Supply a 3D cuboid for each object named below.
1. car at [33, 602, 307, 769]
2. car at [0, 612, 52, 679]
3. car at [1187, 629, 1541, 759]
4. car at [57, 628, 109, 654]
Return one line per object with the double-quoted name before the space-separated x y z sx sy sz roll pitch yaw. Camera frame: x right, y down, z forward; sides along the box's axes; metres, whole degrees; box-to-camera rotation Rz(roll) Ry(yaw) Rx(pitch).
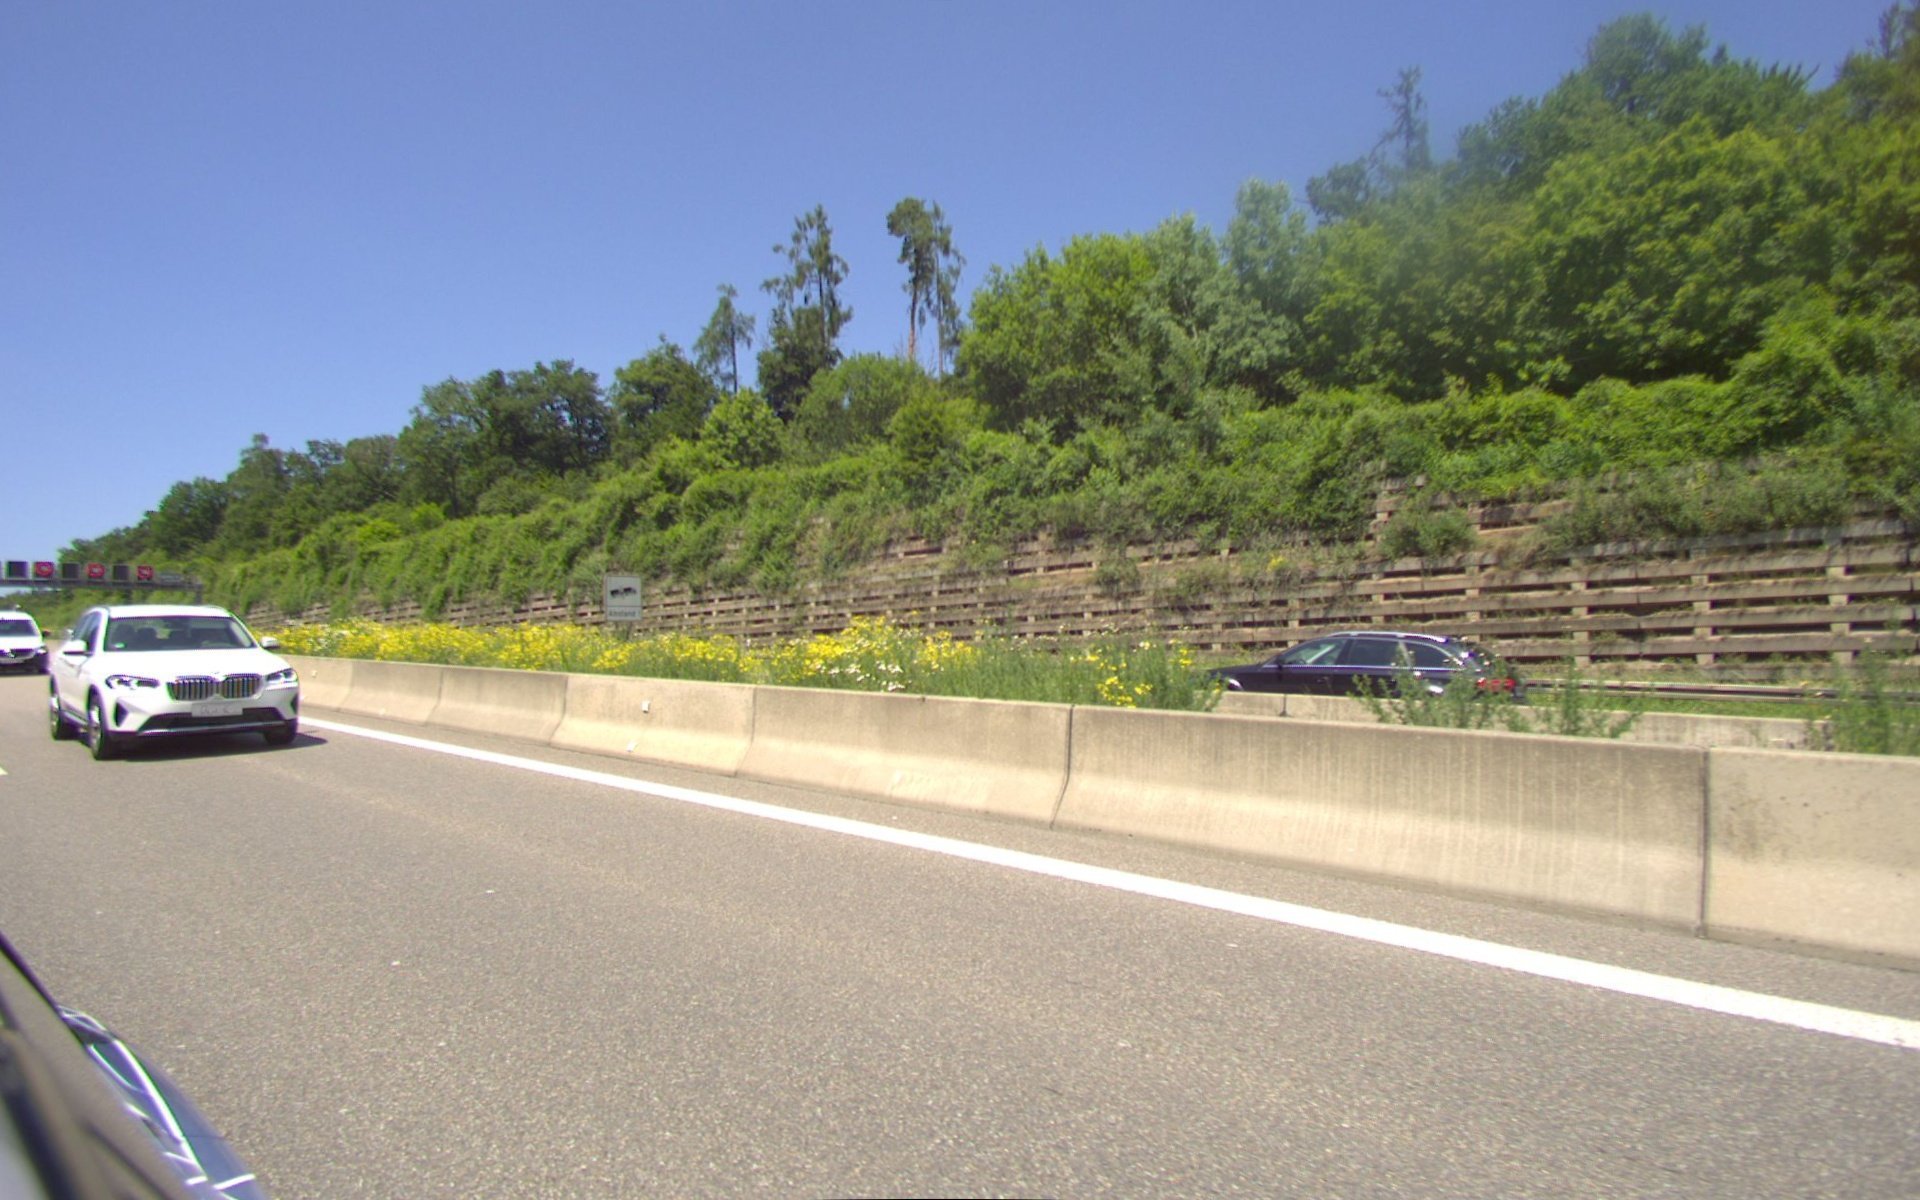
"car" -9.709 0.897 12.302 4.366 1.656 1.826 -1 -1 41
"car" -27.503 1.324 28.832 4.500 1.788 1.972 -3 -1 43
"car" 5.450 1.175 13.972 4.200 1.533 1.770 -2 -3 40
"car" -53.812 2.511 62.086 4.200 1.533 1.770 -2 -3 40
